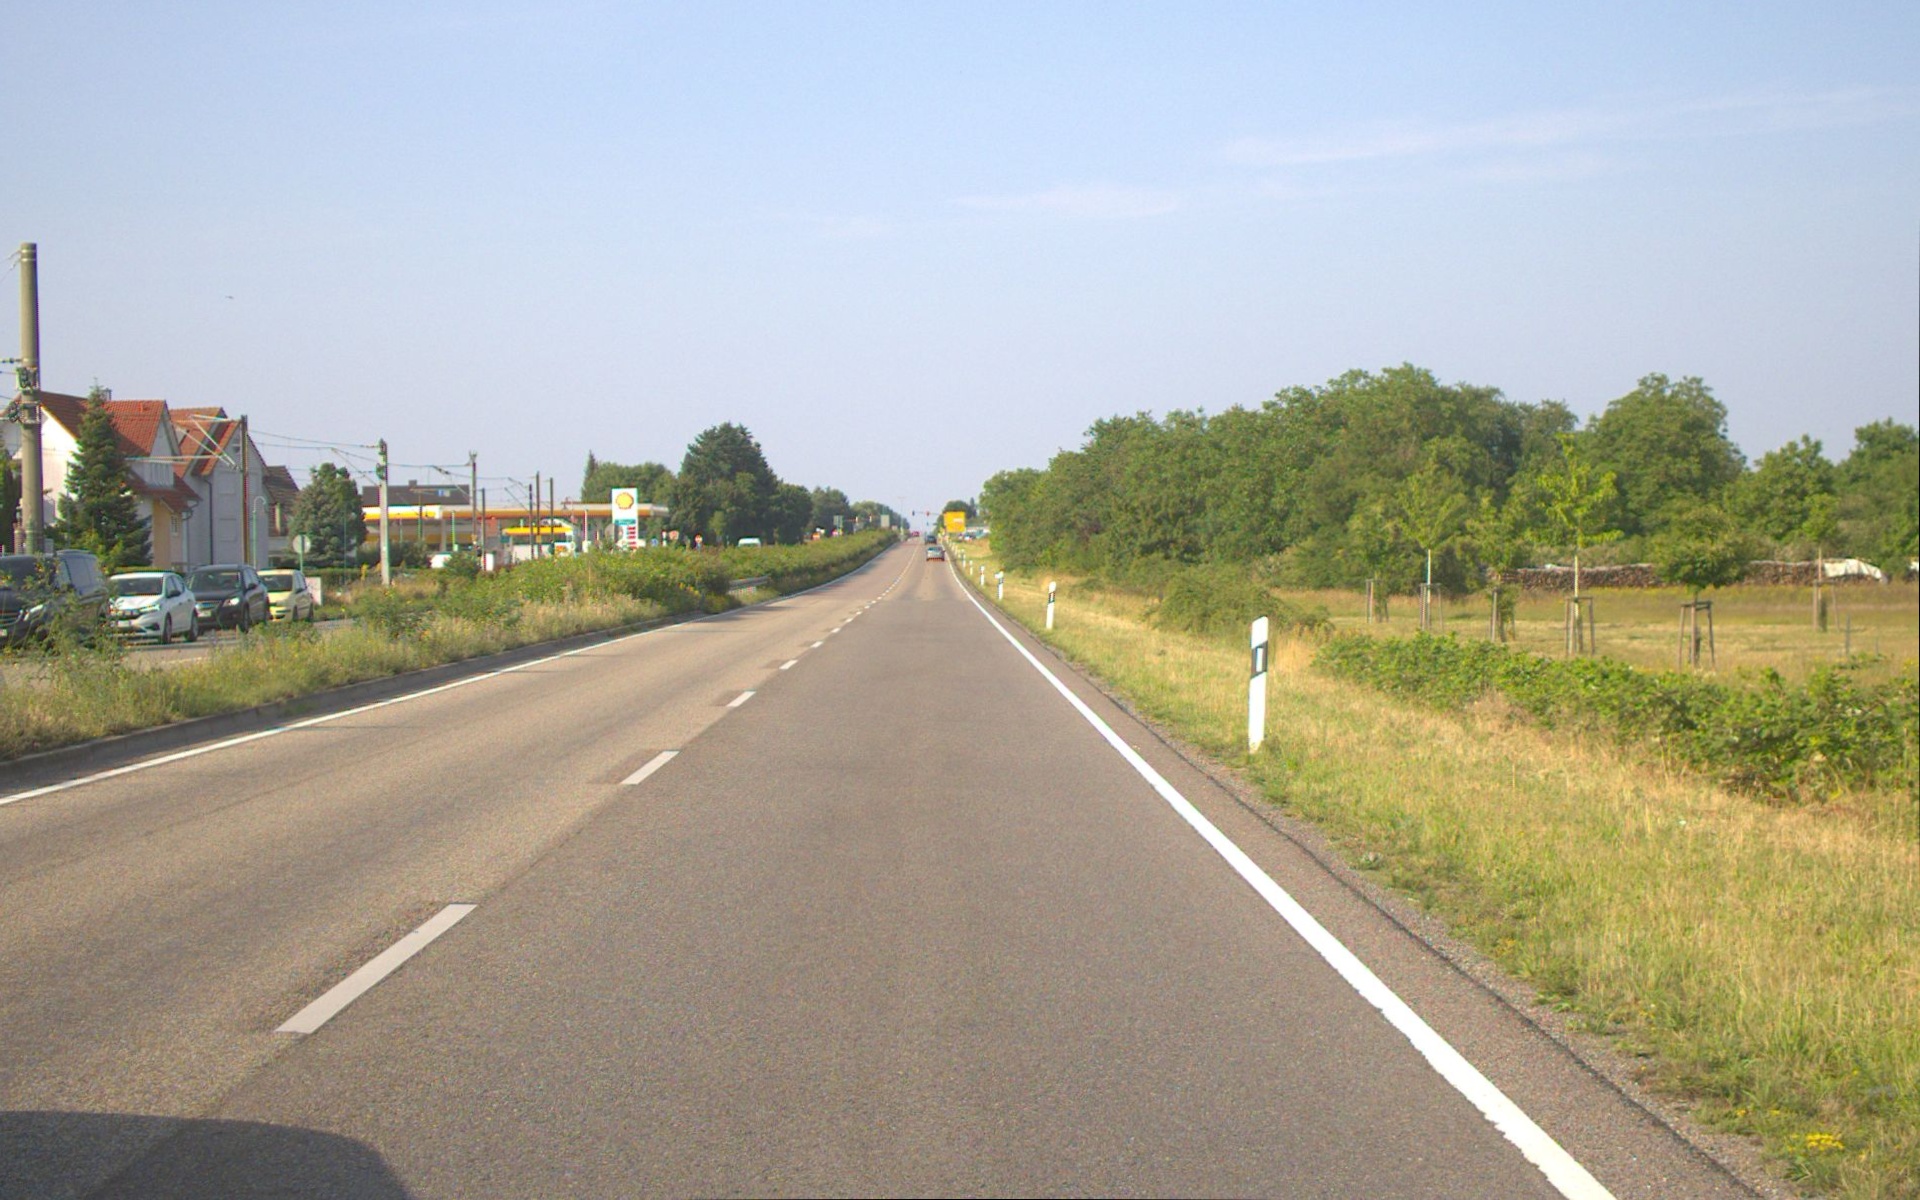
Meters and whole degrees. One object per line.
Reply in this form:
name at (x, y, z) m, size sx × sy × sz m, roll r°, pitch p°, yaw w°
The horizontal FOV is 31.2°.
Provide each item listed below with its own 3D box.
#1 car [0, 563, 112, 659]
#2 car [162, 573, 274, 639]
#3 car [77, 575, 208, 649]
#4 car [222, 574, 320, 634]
car at (-17.211, 0.187, 63.286) m, size 1.915 × 1.677 × 5.254 m, roll -2°, pitch 1°, yaw -1°
car at (-17.312, 0.116, 80.383) m, size 1.660 × 1.426 × 4.326 m, roll -2°, pitch 1°, yaw -1°
car at (-17.033, 0.227, 71.800) m, size 1.660 × 1.426 × 4.449 m, roll -2°, pitch 1°, yaw -1°
car at (-17.797, 0.082, 88.907) m, size 1.660 × 1.426 × 4.326 m, roll -2°, pitch 1°, yaw -1°
